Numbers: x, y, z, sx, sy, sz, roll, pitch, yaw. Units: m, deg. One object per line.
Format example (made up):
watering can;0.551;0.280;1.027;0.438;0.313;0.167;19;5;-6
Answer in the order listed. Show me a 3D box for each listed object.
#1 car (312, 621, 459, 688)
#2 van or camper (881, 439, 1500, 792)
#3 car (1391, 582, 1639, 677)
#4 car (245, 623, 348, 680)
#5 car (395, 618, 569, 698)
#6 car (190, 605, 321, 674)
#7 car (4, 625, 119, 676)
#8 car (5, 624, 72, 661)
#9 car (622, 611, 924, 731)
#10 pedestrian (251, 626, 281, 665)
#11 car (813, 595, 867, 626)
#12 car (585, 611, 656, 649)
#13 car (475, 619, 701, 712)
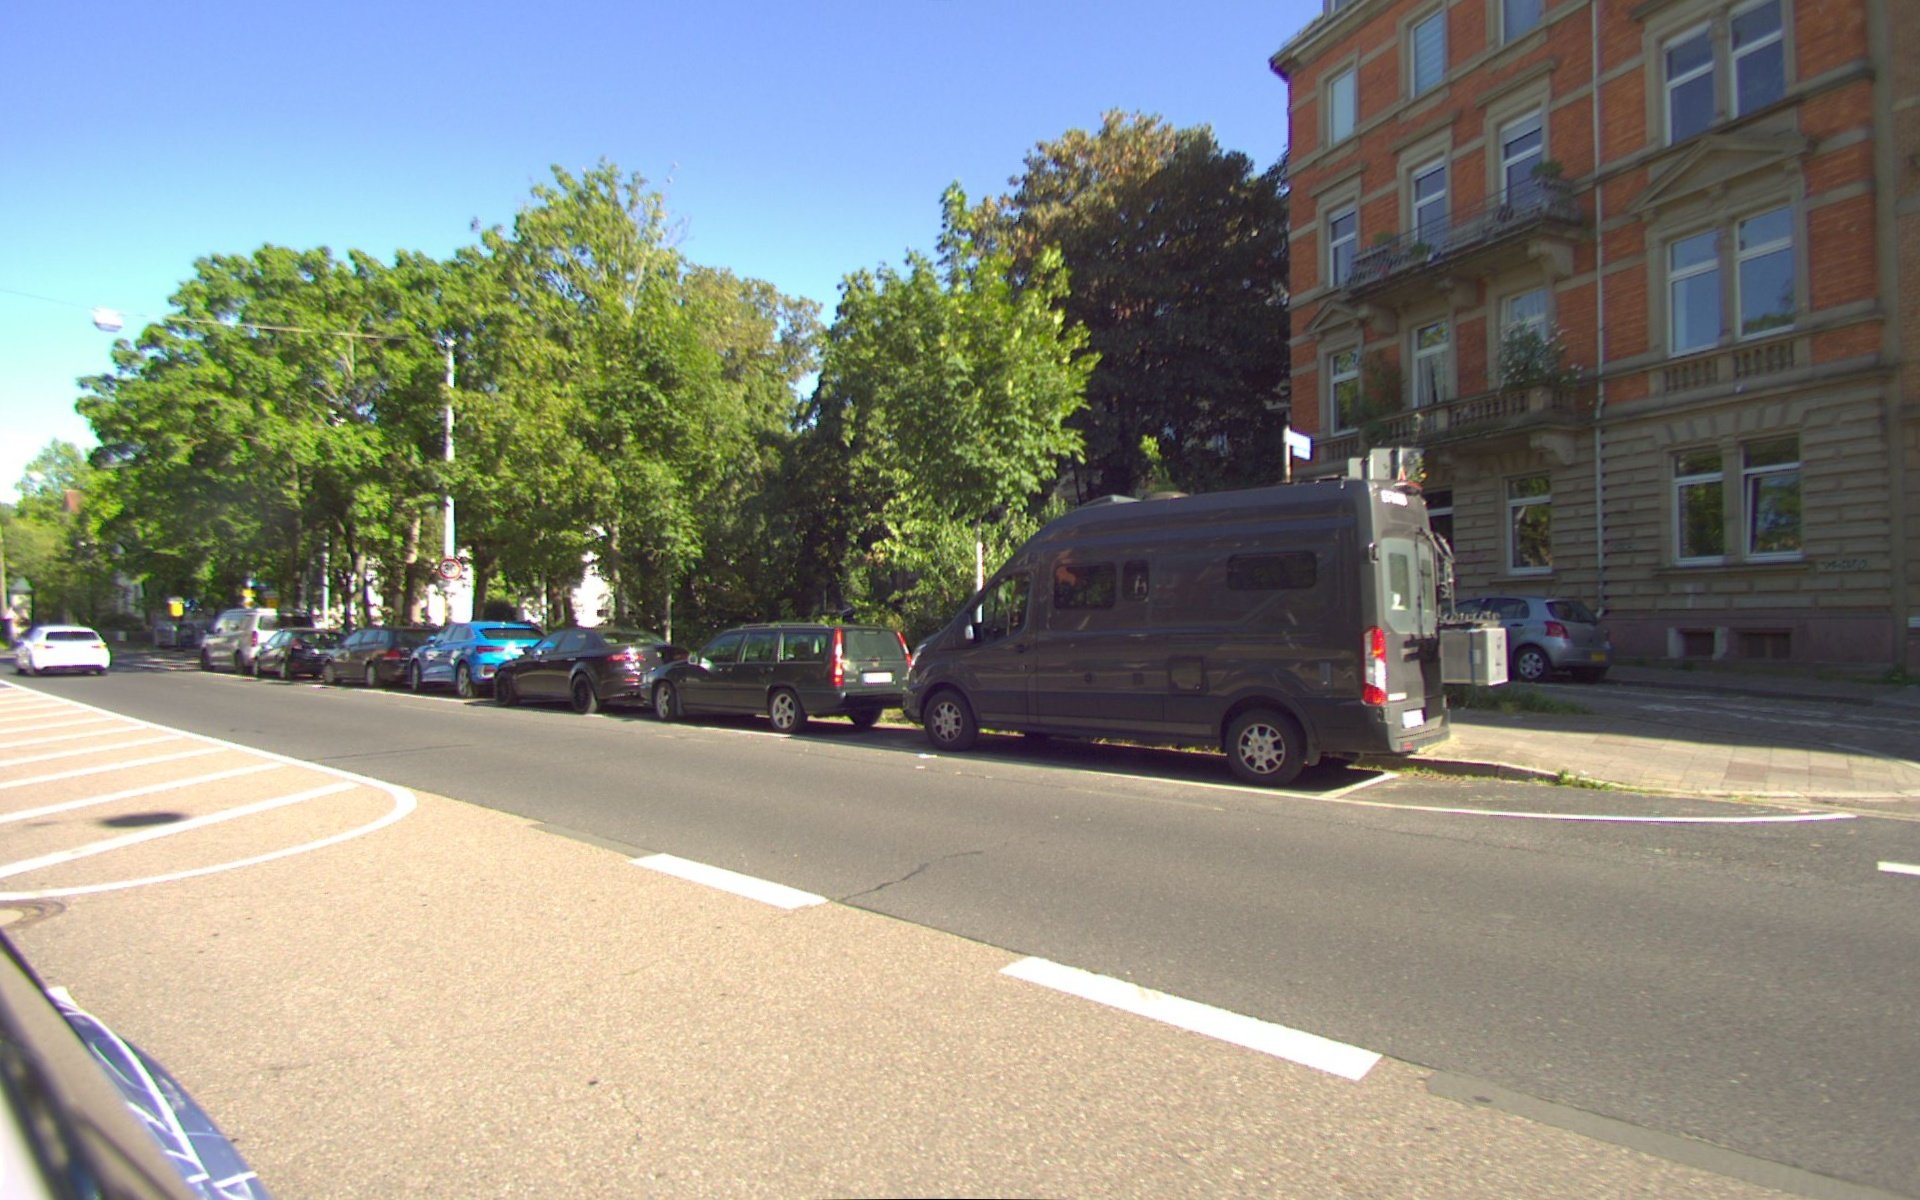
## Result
car;-14.133;1.291;24.812;4.266;1.493;1.575;-1;-2;38
van or camper;2.081;0.196;10.749;6.084;2.760;2.193;-2;-2;41
car;9.979;0.479;18.459;1.833;1.524;3.541;-1;0;-25
car;-19.123;1.441;29.113;3.956;1.513;1.449;-1;-3;41
car;-10.305;1.180;21.655;4.558;1.550;1.761;-2;-2;43
car;-22.681;1.287;32.532;4.867;2.052;1.965;-2;-4;37
car;-26.741;1.460;30.094;4.221;1.430;1.899;-2;-2;39
car;-38.068;1.734;41.781;4.131;1.461;1.576;-2;-2;41
car;-2.808;0.961;14.552;4.659;1.468;1.676;-2;-3;40
pedestrian;-32.349;2.107;47.180;0.817;1.768;0.863;-1;-1;30
car;-10.582;0.939;89.052;4.914;2.643;1.869;-2;-3;40
car;-20.562;1.827;61.206;4.915;2.263;1.869;-2;-3;41
car;-6.562;1.084;17.632;4.402;1.424;1.762;-2;-3;41
